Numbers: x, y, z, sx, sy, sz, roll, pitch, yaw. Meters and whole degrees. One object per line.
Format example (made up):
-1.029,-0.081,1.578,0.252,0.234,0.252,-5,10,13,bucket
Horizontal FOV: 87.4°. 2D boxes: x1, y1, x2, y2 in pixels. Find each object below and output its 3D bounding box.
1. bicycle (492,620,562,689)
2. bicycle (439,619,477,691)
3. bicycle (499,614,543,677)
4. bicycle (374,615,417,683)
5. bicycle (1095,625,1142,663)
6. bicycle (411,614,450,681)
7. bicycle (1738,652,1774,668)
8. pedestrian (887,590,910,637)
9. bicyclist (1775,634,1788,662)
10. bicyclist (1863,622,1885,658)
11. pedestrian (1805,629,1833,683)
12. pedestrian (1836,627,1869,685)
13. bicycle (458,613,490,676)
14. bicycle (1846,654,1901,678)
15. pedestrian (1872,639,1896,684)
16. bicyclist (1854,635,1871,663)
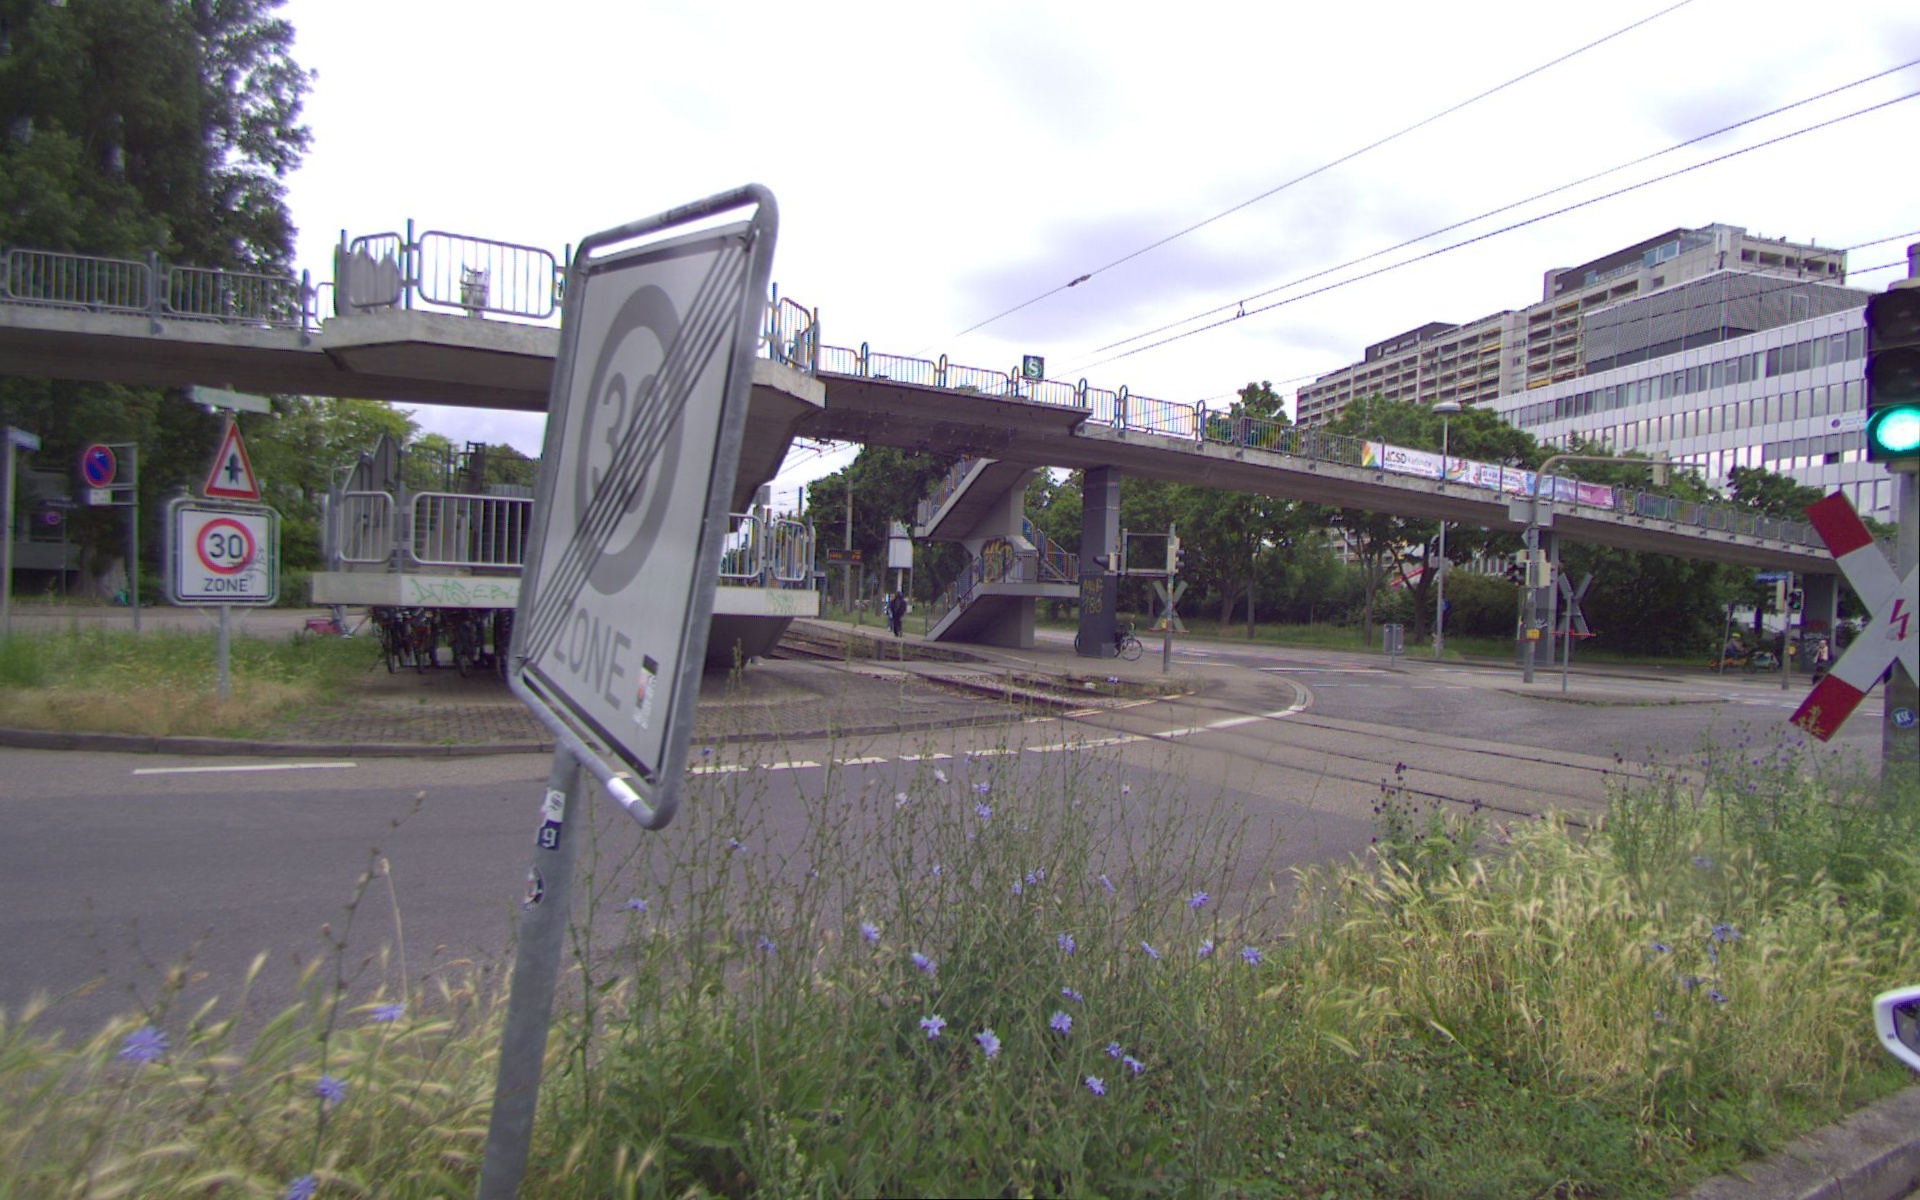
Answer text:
-6.179,0.752,14.402,0.387,0.897,1.741,2,0,-6,bicycle
-6.982,0.749,14.006,0.389,0.897,1.632,2,0,-25,bicycle
-6.977,0.702,15.932,0.390,0.897,1.627,2,0,-32,bicycle
-8.195,0.687,14.620,0.389,0.897,1.632,2,0,-25,bicycle
4.377,1.211,27.886,0.368,0.934,2.029,2,0,-18,bicycle
-7.822,0.681,14.862,0.389,0.897,1.632,2,0,-25,bicycle
37.823,2.849,47.717,1.273,0.701,0.290,2,1,25,bicycle
-2.257,0.492,36.900,0.594,1.664,0.659,2,0,-25,pedestrian
39.549,2.295,48.338,0.376,1.321,0.278,2,0,23,bicyclist
42.949,1.865,47.199,0.525,1.666,0.562,3,0,-30,bicyclist
28.167,1.836,32.953,0.402,1.714,0.612,2,0,-44,pedestrian
28.835,1.807,32.439,0.795,1.828,0.632,2,0,-39,pedestrian
-7.623,0.682,15.779,0.389,0.897,1.632,2,0,-25,bicycle
40.324,2.909,44.355,1.918,0.961,0.763,2,0,-9,bicycle
34.160,2.253,37.145,0.572,1.600,0.777,2,0,42,pedestrian
39.792,2.150,44.283,0.372,1.197,0.403,1,1,-28,bicyclist
